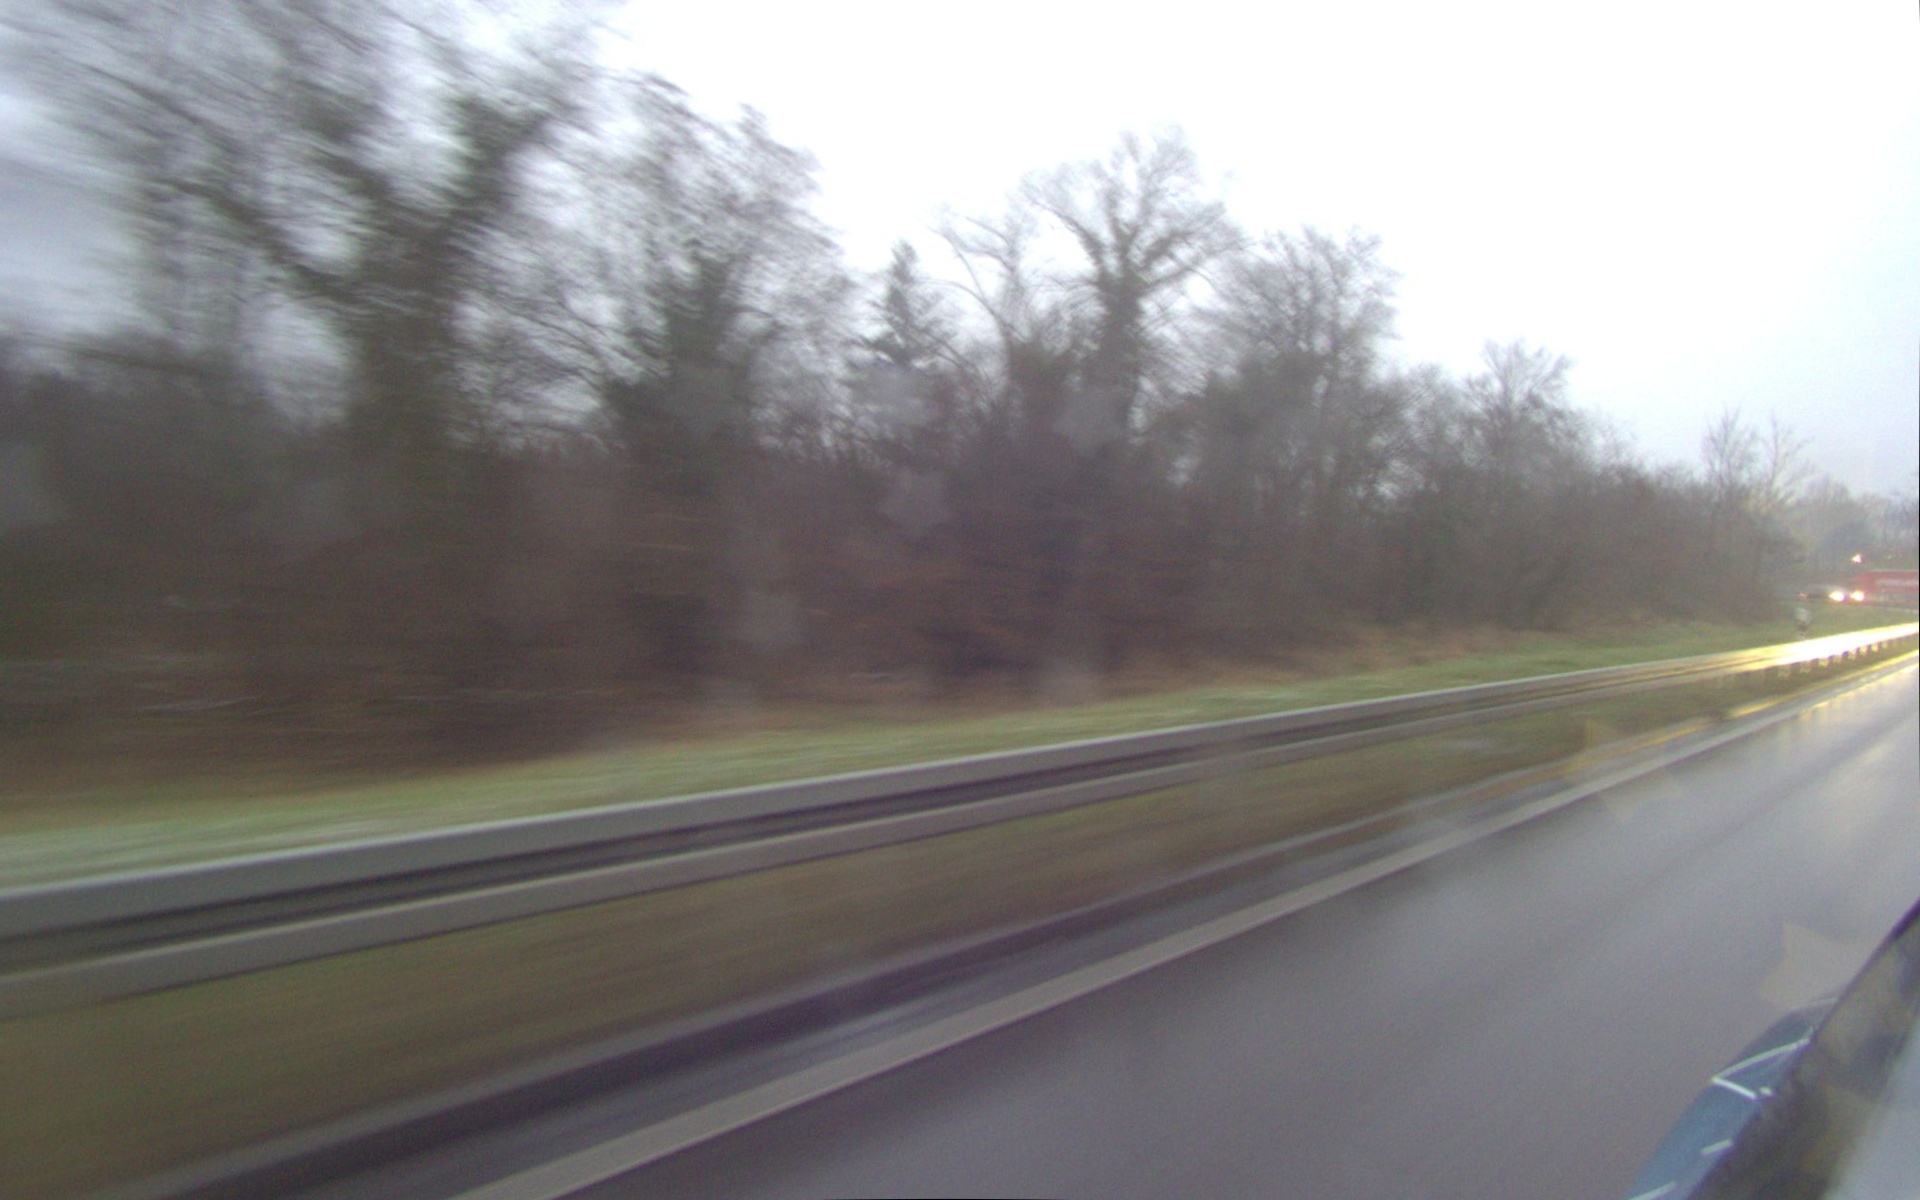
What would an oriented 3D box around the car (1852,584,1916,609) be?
[{"bbox_3d":[77.398,-0.349,84.864,1.967,2.039,4.218,0,1,9],"label":"car"}]
